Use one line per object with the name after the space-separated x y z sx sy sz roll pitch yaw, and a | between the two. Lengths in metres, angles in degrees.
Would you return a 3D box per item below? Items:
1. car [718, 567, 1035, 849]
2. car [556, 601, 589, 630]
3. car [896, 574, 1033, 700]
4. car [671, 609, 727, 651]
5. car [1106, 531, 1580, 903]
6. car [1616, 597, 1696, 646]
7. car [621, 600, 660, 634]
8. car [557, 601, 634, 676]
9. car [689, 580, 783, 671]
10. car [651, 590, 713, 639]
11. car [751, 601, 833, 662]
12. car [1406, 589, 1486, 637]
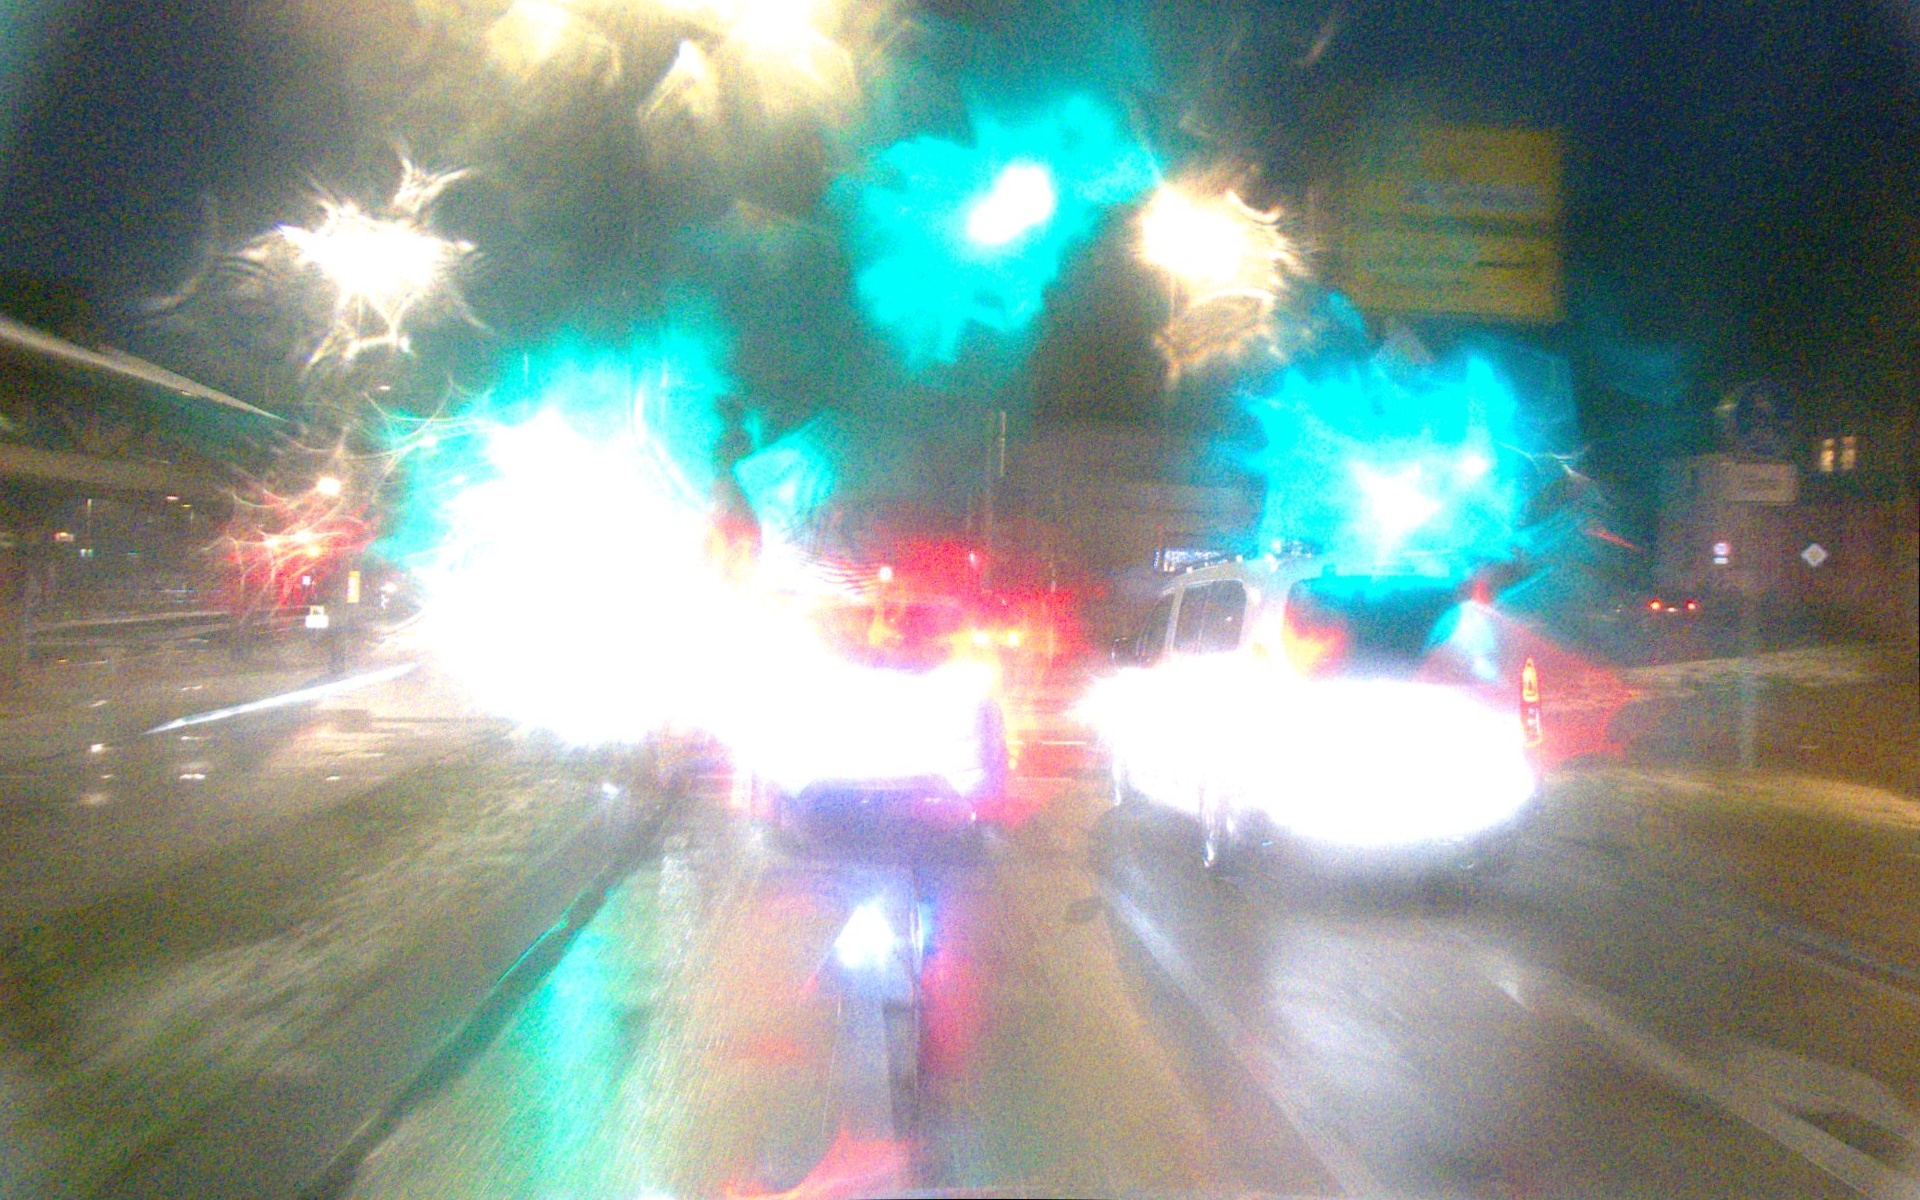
-0.676 0.705 12.743 1.975 1.747 4.448 1 0 -4 | car
-25.495 1.016 108.737 1.960 1.856 3.984 2 0 -15 | car
0.012 0.637 29.941 1.931 2.082 3.993 1 0 -7 | car
-11.172 1.266 70.669 1.960 1.699 3.984 2 0 -15 | car
2.199 0.629 10.782 1.815 1.897 4.337 1 0 -4 | car
25.539 0.798 60.795 1.734 1.698 4.073 1 0 9 | car
-18.215 0.981 94.253 1.960 1.852 3.985 2 0 -14 | car
-10.319 1.050 46.810 1.980 1.920 4.437 2 0 -13 | car
-5.466 0.599 40.006 1.958 2.049 3.988 2 0 -11 | car
-10.505 0.538 62.310 1.960 1.763 3.985 2 0 -15 | car
-5.216 0.944 50.924 1.960 1.748 3.986 2 0 -14 | car
17.783 0.470 60.658 1.826 1.675 3.964 -1 0 2 | car
